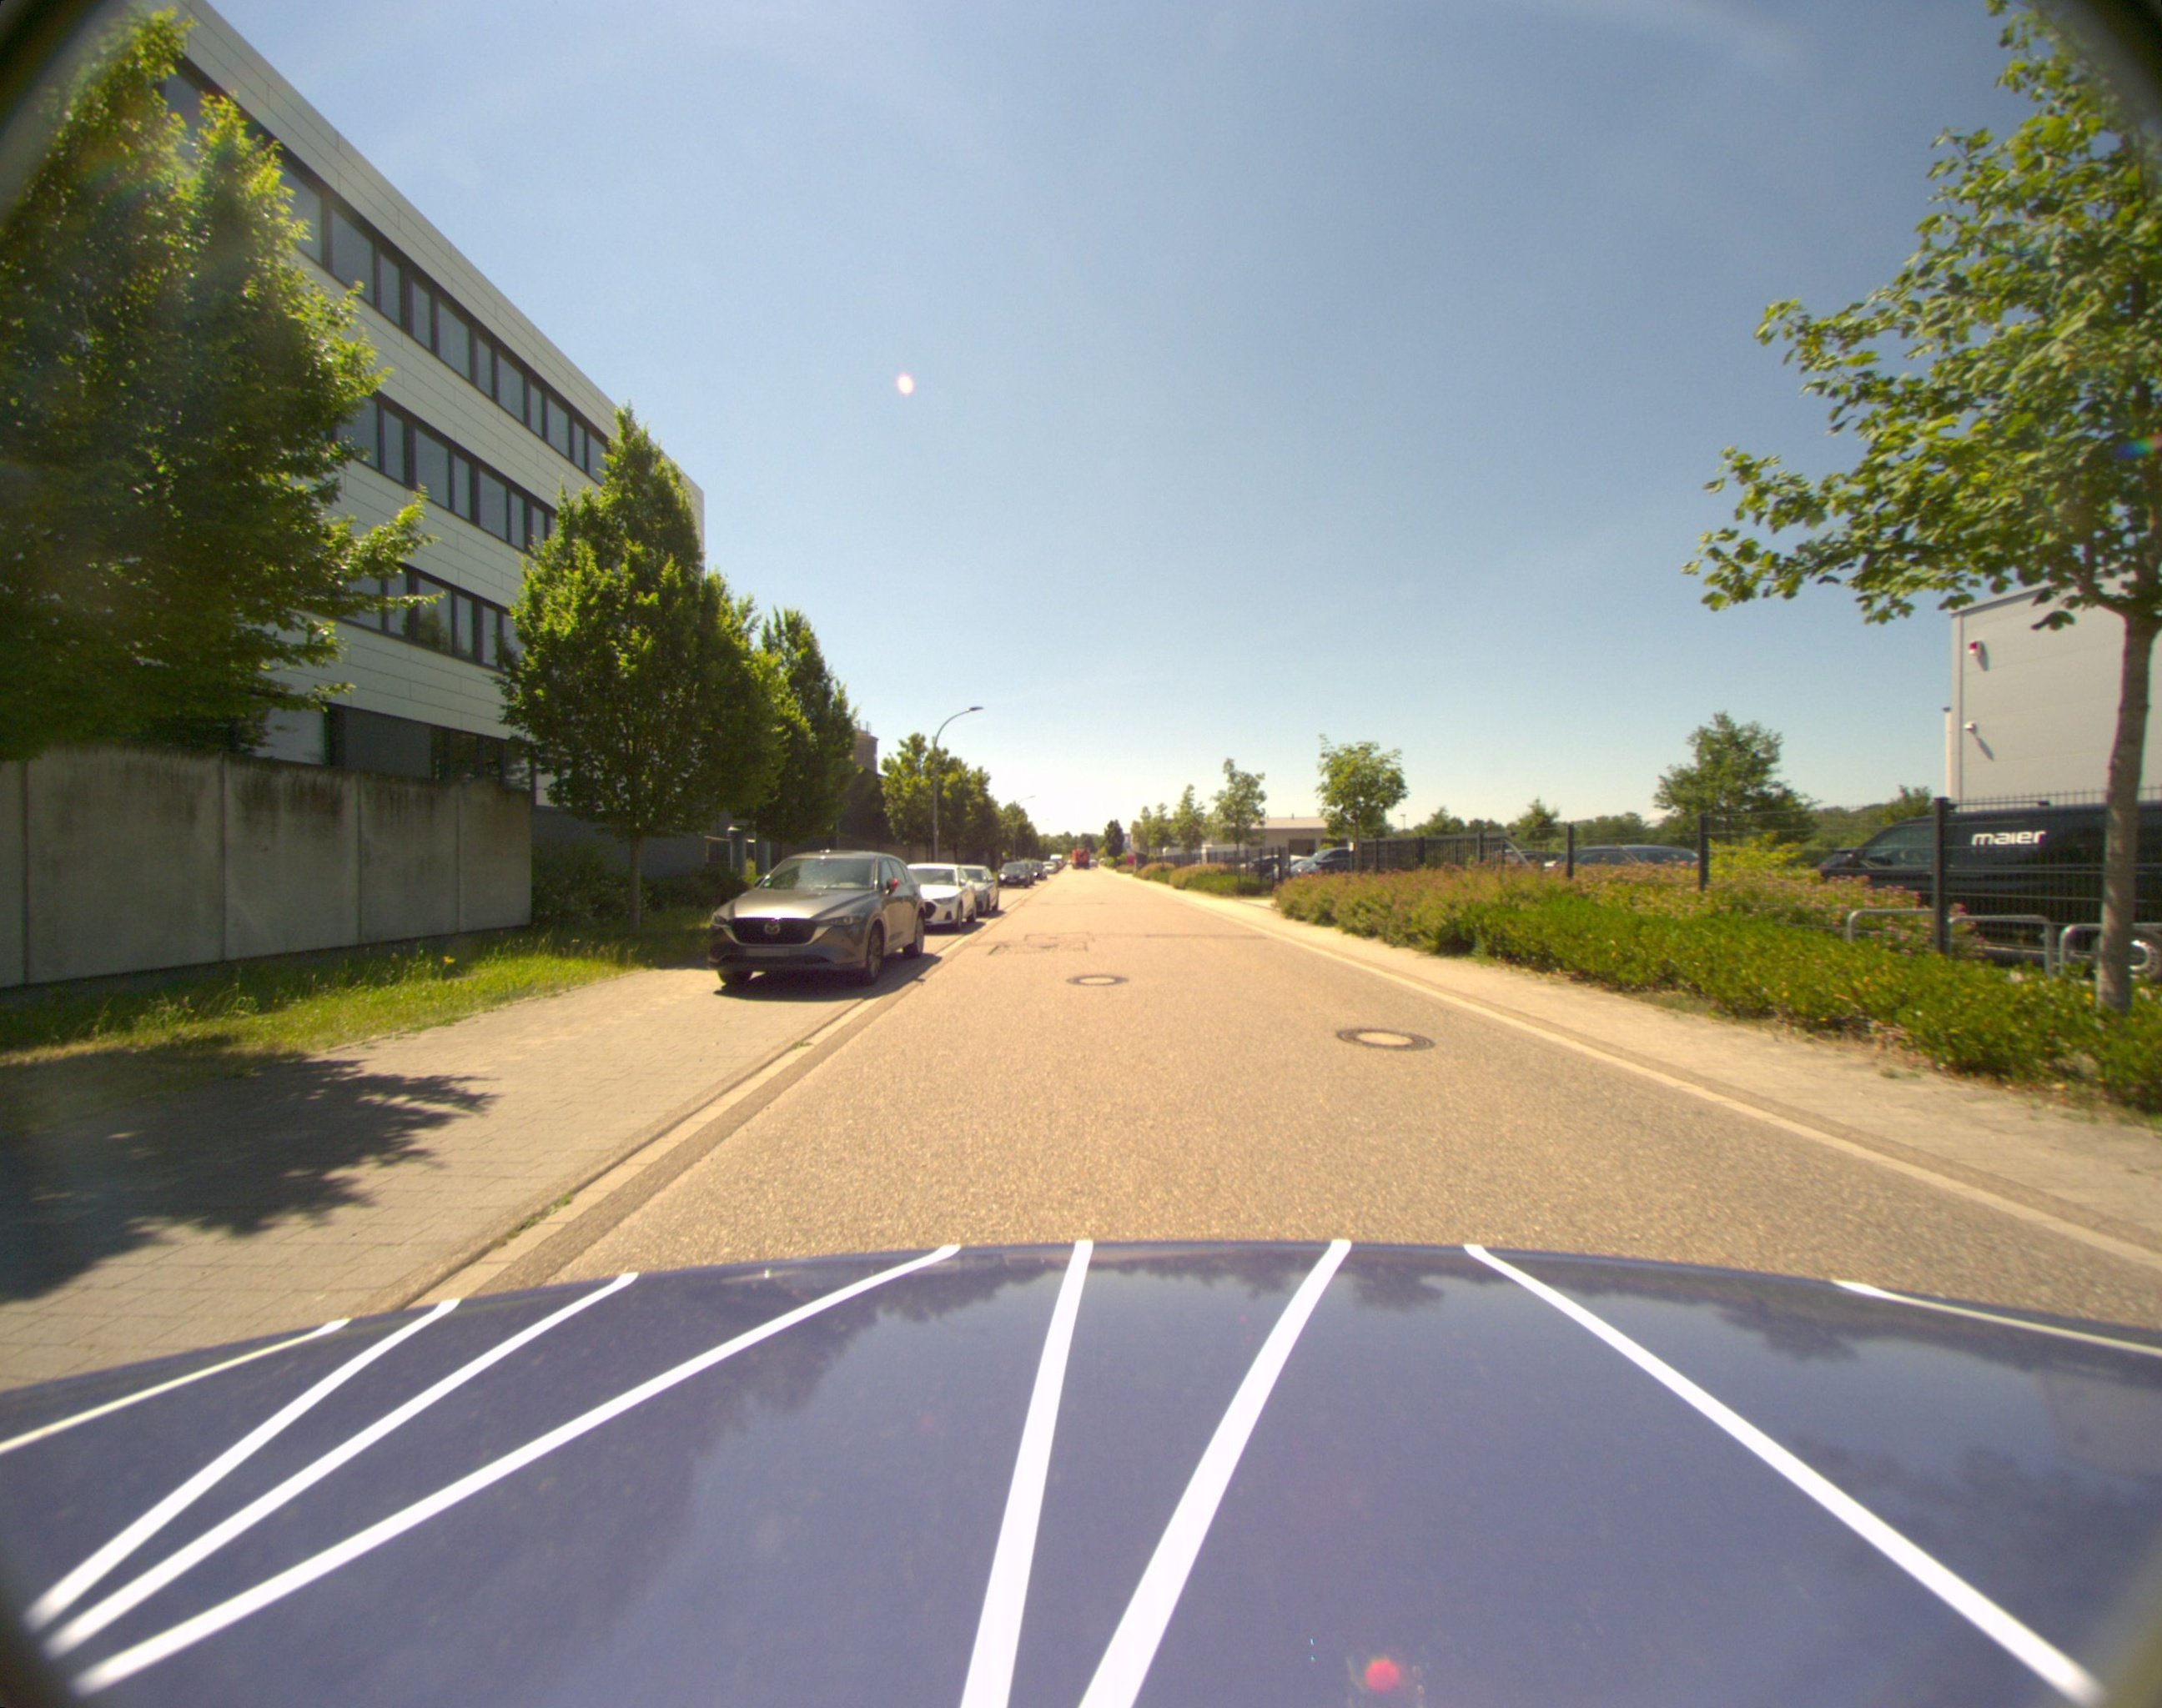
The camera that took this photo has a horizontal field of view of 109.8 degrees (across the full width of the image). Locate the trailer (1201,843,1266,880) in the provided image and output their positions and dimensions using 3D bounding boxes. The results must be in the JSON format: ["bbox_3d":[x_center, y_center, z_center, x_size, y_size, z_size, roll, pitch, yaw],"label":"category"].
[{"bbox_3d":[10.397,0.496,51.920,3.998,2.346,1.726,-2,0,-3],"label":"trailer"}]

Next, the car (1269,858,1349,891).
[{"bbox_3d":[11.342,1.000,37.985,3.379,1.489,1.904,-1,0,-1],"label":"car"}]

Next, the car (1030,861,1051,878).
[{"bbox_3d":[-3.677,1.376,69.613,1.711,1.449,4.189,1,0,-1],"label":"car"}]

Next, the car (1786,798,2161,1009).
[{"bbox_3d":[11.745,0.450,9.233,2.006,2.086,4.694,-2,0,1],"label":"car"}]

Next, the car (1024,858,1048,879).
[{"bbox_3d":[-3.712,1.172,63.247,1.742,1.660,4.367,1,0,-1],"label":"car"}]

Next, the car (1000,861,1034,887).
[{"bbox_3d":[-3.741,1.146,45.010,1.696,1.467,4.268,1,0,-1],"label":"car"}]

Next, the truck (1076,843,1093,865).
[{"bbox_3d":[0.525,0.026,131.360,2.606,3.524,10.500,0,0,-1],"label":"truck"}]

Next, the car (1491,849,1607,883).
[{"bbox_3d":[21.271,0.522,34.668,4.117,1.406,1.880,-1,0,-1],"label":"car"}]

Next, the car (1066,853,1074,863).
[{"bbox_3d":[-3.024,1.190,212.310,2.060,2.682,4.834,0,0,-1],"label":"car"}]

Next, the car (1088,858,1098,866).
[{"bbox_3d":[2.281,1.526,145.583,1.998,1.674,4.000,0,0,0],"label":"car"}]

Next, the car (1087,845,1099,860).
[{"bbox_3d":[2.641,-0.262,167.257,2.600,3.212,6.222,0,0,0],"label":"car"}]

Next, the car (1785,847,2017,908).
[{"bbox_3d":[21.959,0.594,20.491,4.100,1.488,2.000,-1,0,0],"label":"car"}]

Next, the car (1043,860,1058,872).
[{"bbox_3d":[-3.817,1.472,95.346,1.736,1.501,3.665,1,0,-1],"label":"car"}]

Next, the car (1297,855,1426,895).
[{"bbox_3d":[10.894,0.799,29.757,4.316,1.438,1.964,-1,0,-1],"label":"car"}]

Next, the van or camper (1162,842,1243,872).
[{"bbox_3d":[10.813,0.271,68.125,6.793,2.668,2.575,0,0,0],"label":"van or camper"}]

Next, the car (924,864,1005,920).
[{"bbox_3d":[-3.325,1.047,22.418,1.720,1.415,3.951,2,0,0],"label":"car"}]

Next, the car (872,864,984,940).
[{"bbox_3d":[-3.414,1.013,17.646,1.720,1.472,4.031,2,0,0],"label":"car"}]

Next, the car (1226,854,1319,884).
[{"bbox_3d":[10.841,0.834,43.207,4.744,1.619,2.000,-1,0,0],"label":"car"}]

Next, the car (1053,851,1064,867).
[{"bbox_3d":[-4.017,0.889,135.850,2.060,2.682,4.834,0,0,-1],"label":"car"}]

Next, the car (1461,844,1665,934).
[{"bbox_3d":[10.425,0.683,16.872,1.998,1.713,4.091,-1,0,1],"label":"car"}]

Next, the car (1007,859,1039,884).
[{"bbox_3d":[-3.882,1.152,51.554,1.812,1.608,4.714,1,0,-1],"label":"car"}]

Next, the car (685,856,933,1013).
[{"bbox_3d":[-3.339,0.876,10.332,1.762,1.653,4.363,1,0,0],"label":"car"}]

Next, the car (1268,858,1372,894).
[{"bbox_3d":[11.005,0.994,35.152,4.204,1.489,1.904,-1,0,-1],"label":"car"}]

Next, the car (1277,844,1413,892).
[{"bbox_3d":[11.125,0.580,32.238,5.072,1.840,1.964,-1,0,-1],"label":"car"}]
